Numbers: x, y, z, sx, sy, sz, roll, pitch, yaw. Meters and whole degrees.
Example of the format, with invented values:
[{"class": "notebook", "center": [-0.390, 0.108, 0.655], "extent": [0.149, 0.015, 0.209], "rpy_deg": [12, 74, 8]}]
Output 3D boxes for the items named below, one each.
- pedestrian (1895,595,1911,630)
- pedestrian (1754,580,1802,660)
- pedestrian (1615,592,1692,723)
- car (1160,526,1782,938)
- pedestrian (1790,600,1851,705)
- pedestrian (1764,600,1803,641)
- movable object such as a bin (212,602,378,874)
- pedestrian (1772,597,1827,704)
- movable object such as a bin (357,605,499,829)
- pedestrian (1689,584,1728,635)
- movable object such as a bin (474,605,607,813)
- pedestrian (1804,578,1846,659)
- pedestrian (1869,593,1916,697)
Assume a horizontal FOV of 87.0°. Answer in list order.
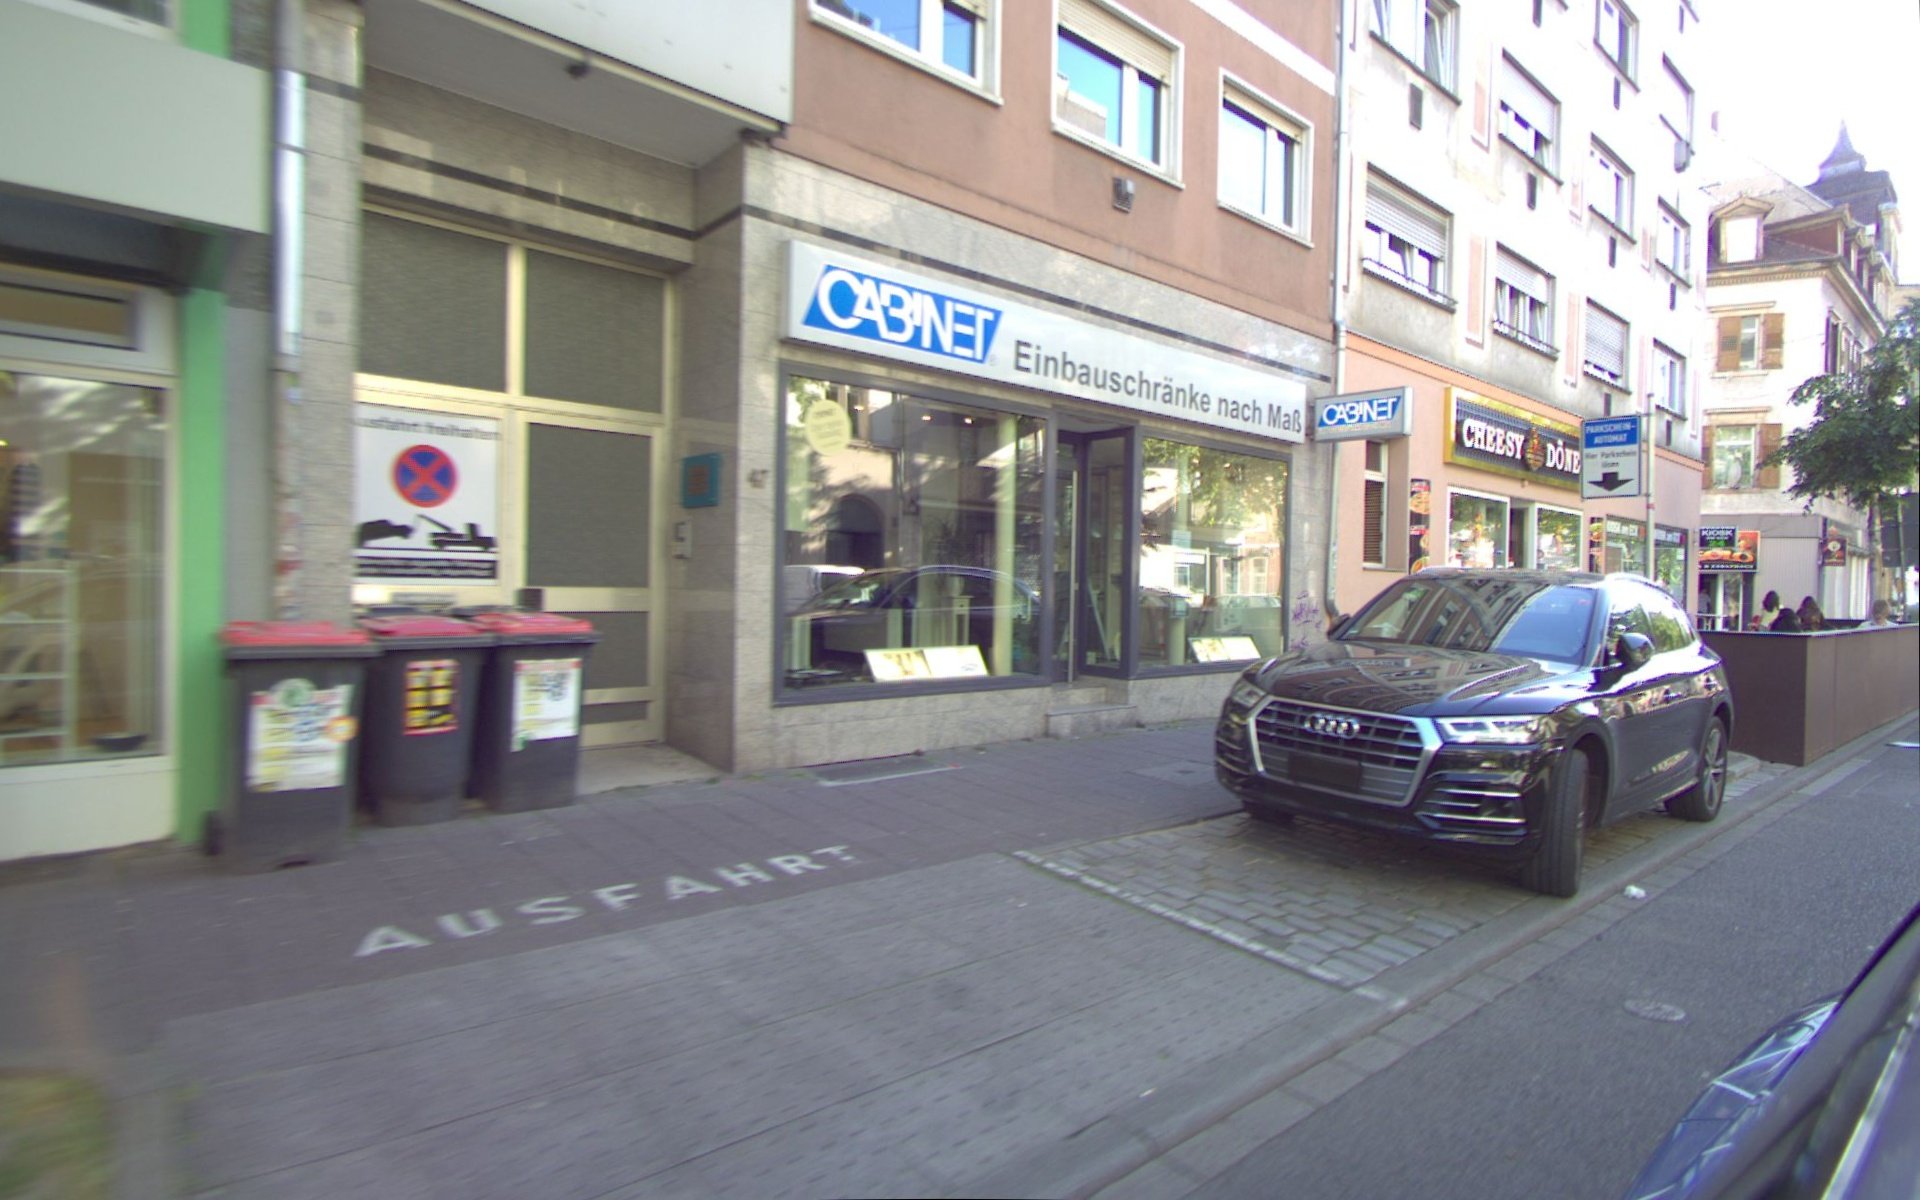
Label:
[{"class": "pedestrian", "center": [40.318, 0.521, 43.260], "extent": [0.512, 1.461, 0.460], "rpy_deg": [0, 0, -42]}, {"class": "pedestrian", "center": [17.746, 0.426, 21.954], "extent": [0.735, 1.665, 0.643], "rpy_deg": [1, 2, -42]}, {"class": "pedestrian", "center": [7.329, 0.593, 10.705], "extent": [0.473, 1.348, 0.475], "rpy_deg": [0, 0, -7]}, {"class": "car", "center": [3.503, 0.512, 6.518], "extent": [4.438, 1.710, 1.998], "rpy_deg": [0, 4, -42]}, {"class": "pedestrian", "center": [11.774, 0.696, 13.850], "extent": [0.584, 1.396, 0.553], "rpy_deg": [0, 0, -40]}, {"class": "pedestrian", "center": [26.272, 0.651, 32.293], "extent": [0.701, 1.274, 0.589], "rpy_deg": [1, 3, 10]}, {"class": "movable object such as a bin", "center": [-3.040, 0.572, 4.618], "extent": [0.563, 1.108, 0.627], "rpy_deg": [0, 1, -39]}, {"class": "pedestrian", "center": [11.158, 0.655, 13.452], "extent": [0.584, 1.379, 0.473], "rpy_deg": [0, 0, -40]}, {"class": "movable object such as a bin", "center": [-2.804, 0.575, 5.332], "extent": [0.563, 1.077, 0.500], "rpy_deg": [0, 1, -40]}, {"class": "pedestrian", "center": [25.986, 0.332, 35.154], "extent": [0.787, 1.717, 0.706], "rpy_deg": [1, 3, 10]}, {"class": "movable object such as a bin", "center": [-2.365, 0.574, 5.704], "extent": [0.563, 1.077, 0.500], "rpy_deg": [0, 1, -40]}, {"class": "pedestrian", "center": [18.240, 0.383, 21.347], "extent": [0.735, 1.665, 0.514], "rpy_deg": [1, 2, -42]}, {"class": "pedestrian", "center": [14.216, 0.676, 15.429], "extent": [0.454, 1.548, 0.473], "rpy_deg": [0, 0, -40]}]
